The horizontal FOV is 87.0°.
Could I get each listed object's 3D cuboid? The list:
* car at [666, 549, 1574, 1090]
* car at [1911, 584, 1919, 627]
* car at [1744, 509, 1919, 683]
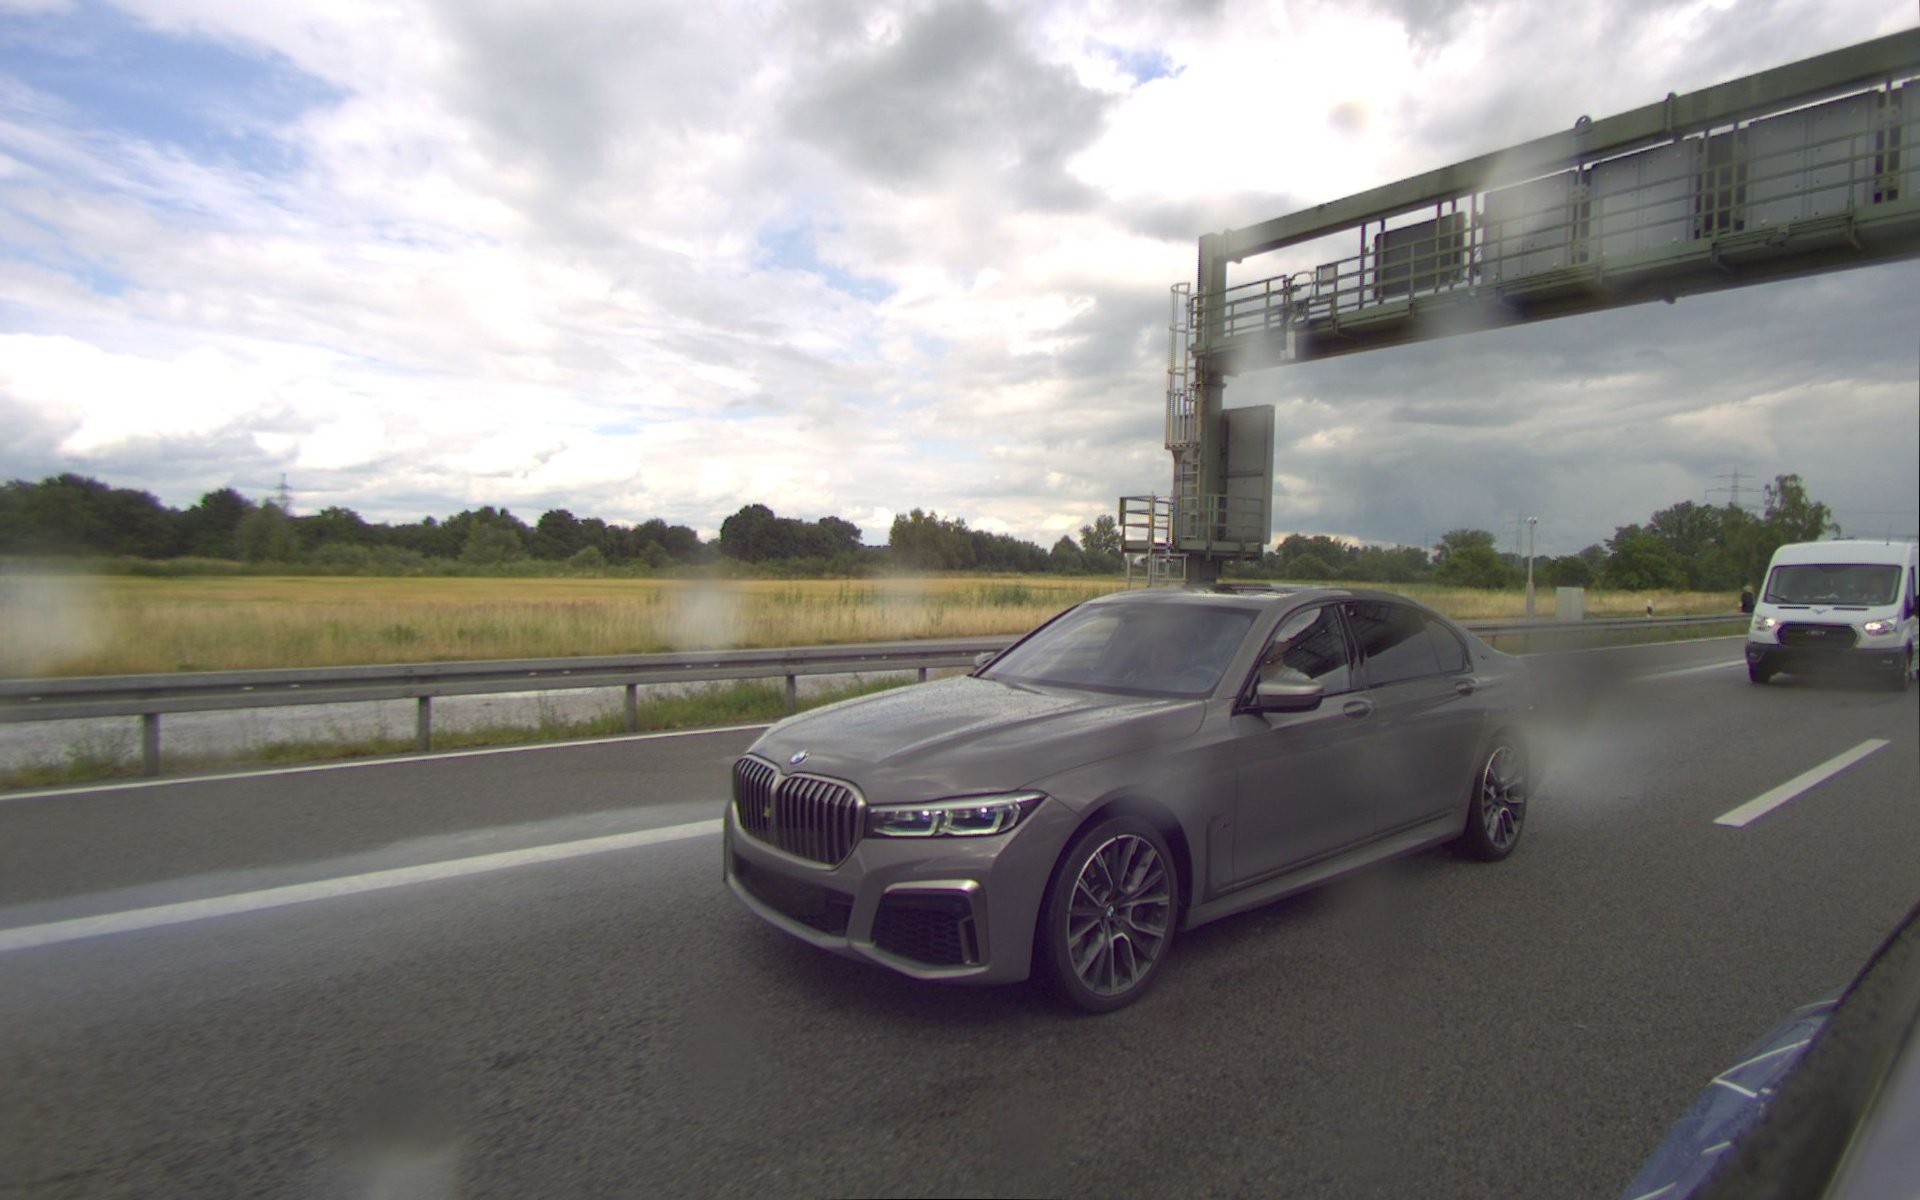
[{"bbox_3d":[1.152,0.572,5.093,4.692,1.510,1.943,-1,1,-41],"label":"car"},{"bbox_3d":[39.010,0.227,39.820,4.552,1.662,1.996,0,2,-43],"label":"car"},{"bbox_3d":[15.435,-0.103,17.283,5.351,2.532,2.144,0,1,-40],"label":"car"}]
